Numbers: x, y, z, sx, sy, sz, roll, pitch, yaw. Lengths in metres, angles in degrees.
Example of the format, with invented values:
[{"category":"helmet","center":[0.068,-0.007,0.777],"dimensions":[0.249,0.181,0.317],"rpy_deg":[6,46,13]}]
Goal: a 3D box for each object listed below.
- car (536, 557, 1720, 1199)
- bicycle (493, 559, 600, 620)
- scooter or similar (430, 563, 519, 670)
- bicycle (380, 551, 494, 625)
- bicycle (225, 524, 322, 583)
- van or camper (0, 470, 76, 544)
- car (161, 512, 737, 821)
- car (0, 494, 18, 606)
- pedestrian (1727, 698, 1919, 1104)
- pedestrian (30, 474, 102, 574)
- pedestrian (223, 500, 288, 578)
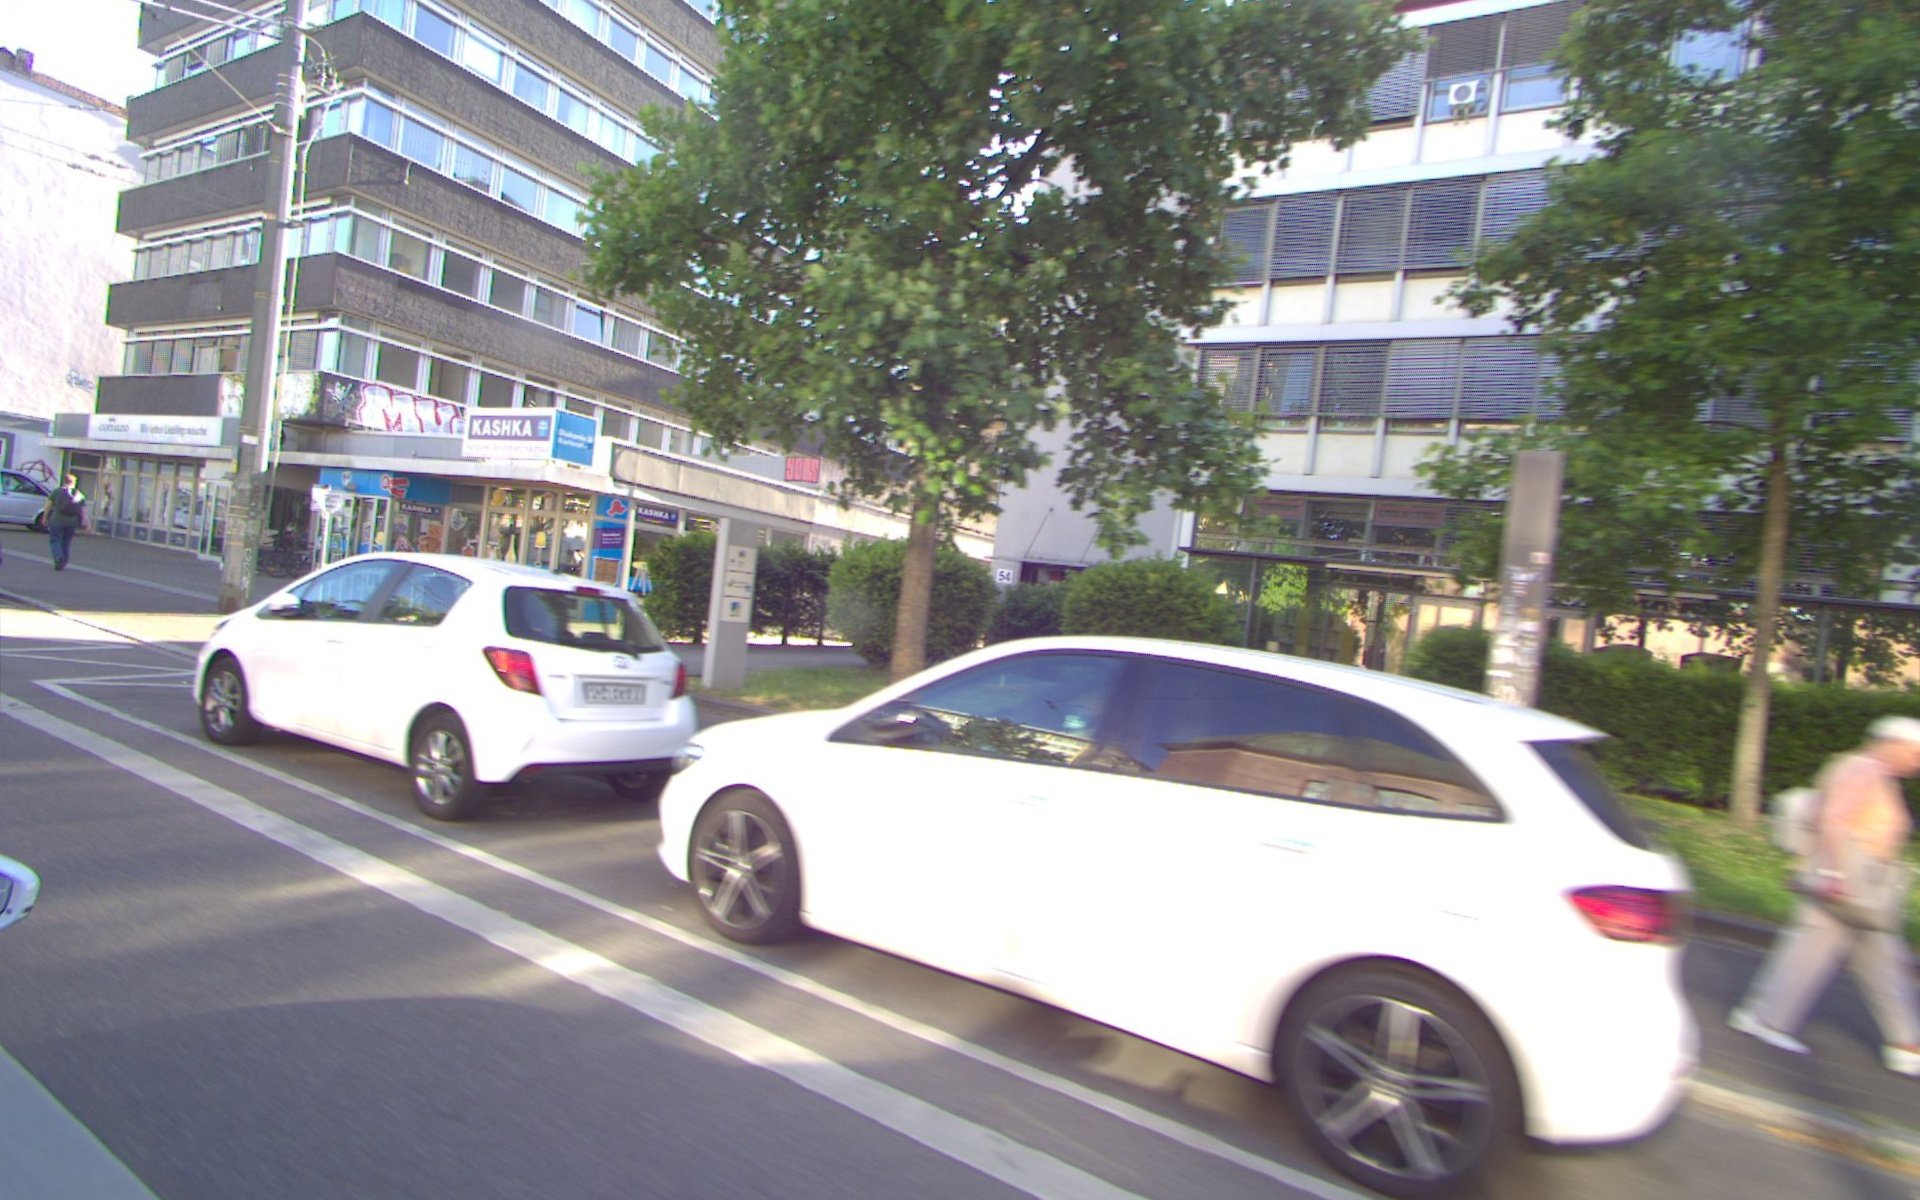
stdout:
[{"category":"car","center":[0.345,0.888,4.345],"dimensions":[4.367,1.588,1.545],"rpy_deg":[7,-1,30]},{"category":"bicycle","center":[-8.603,-0.188,21.030],"dimensions":[0.581,1.139,2.205],"rpy_deg":[7,1,23]},{"category":"scooter or similar","center":[-6.355,0.197,13.142],"dimensions":[1.339,1.252,0.536],"rpy_deg":[7,6,40]},{"category":"bicycle","center":[-9.452,-0.194,18.241],"dimensions":[0.569,1.154,1.681],"rpy_deg":[7,0,35]},{"category":"bicycle","center":[-16.694,-1.100,24.540],"dimensions":[0.790,1.234,2.181],"rpy_deg":[7,0,-1]},{"category":"van or camper","center":[-30.818,-3.054,31.270],"dimensions":[1.956,2.165,4.640],"rpy_deg":[7,2,35]},{"category":"car","center":[-3.646,0.363,7.064],"dimensions":[3.818,1.459,1.606],"rpy_deg":[7,-2,29]},{"category":"car","center":[-14.964,-0.948,13.829],"dimensions":[4.474,1.474,1.714],"rpy_deg":[7,-1,31]},{"category":"pedestrian","center":[3.910,1.253,4.455],"dimensions":[0.615,1.551,0.641],"rpy_deg":[8,2,35]},{"category":"pedestrian","center":[-17.670,-1.494,19.881],"dimensions":[0.874,1.835,0.722],"rpy_deg":[7,1,31]},{"category":"pedestrian","center":[-17.367,-1.513,24.841],"dimensions":[1.146,1.751,1.034],"rpy_deg":[6,2,-34]}]
